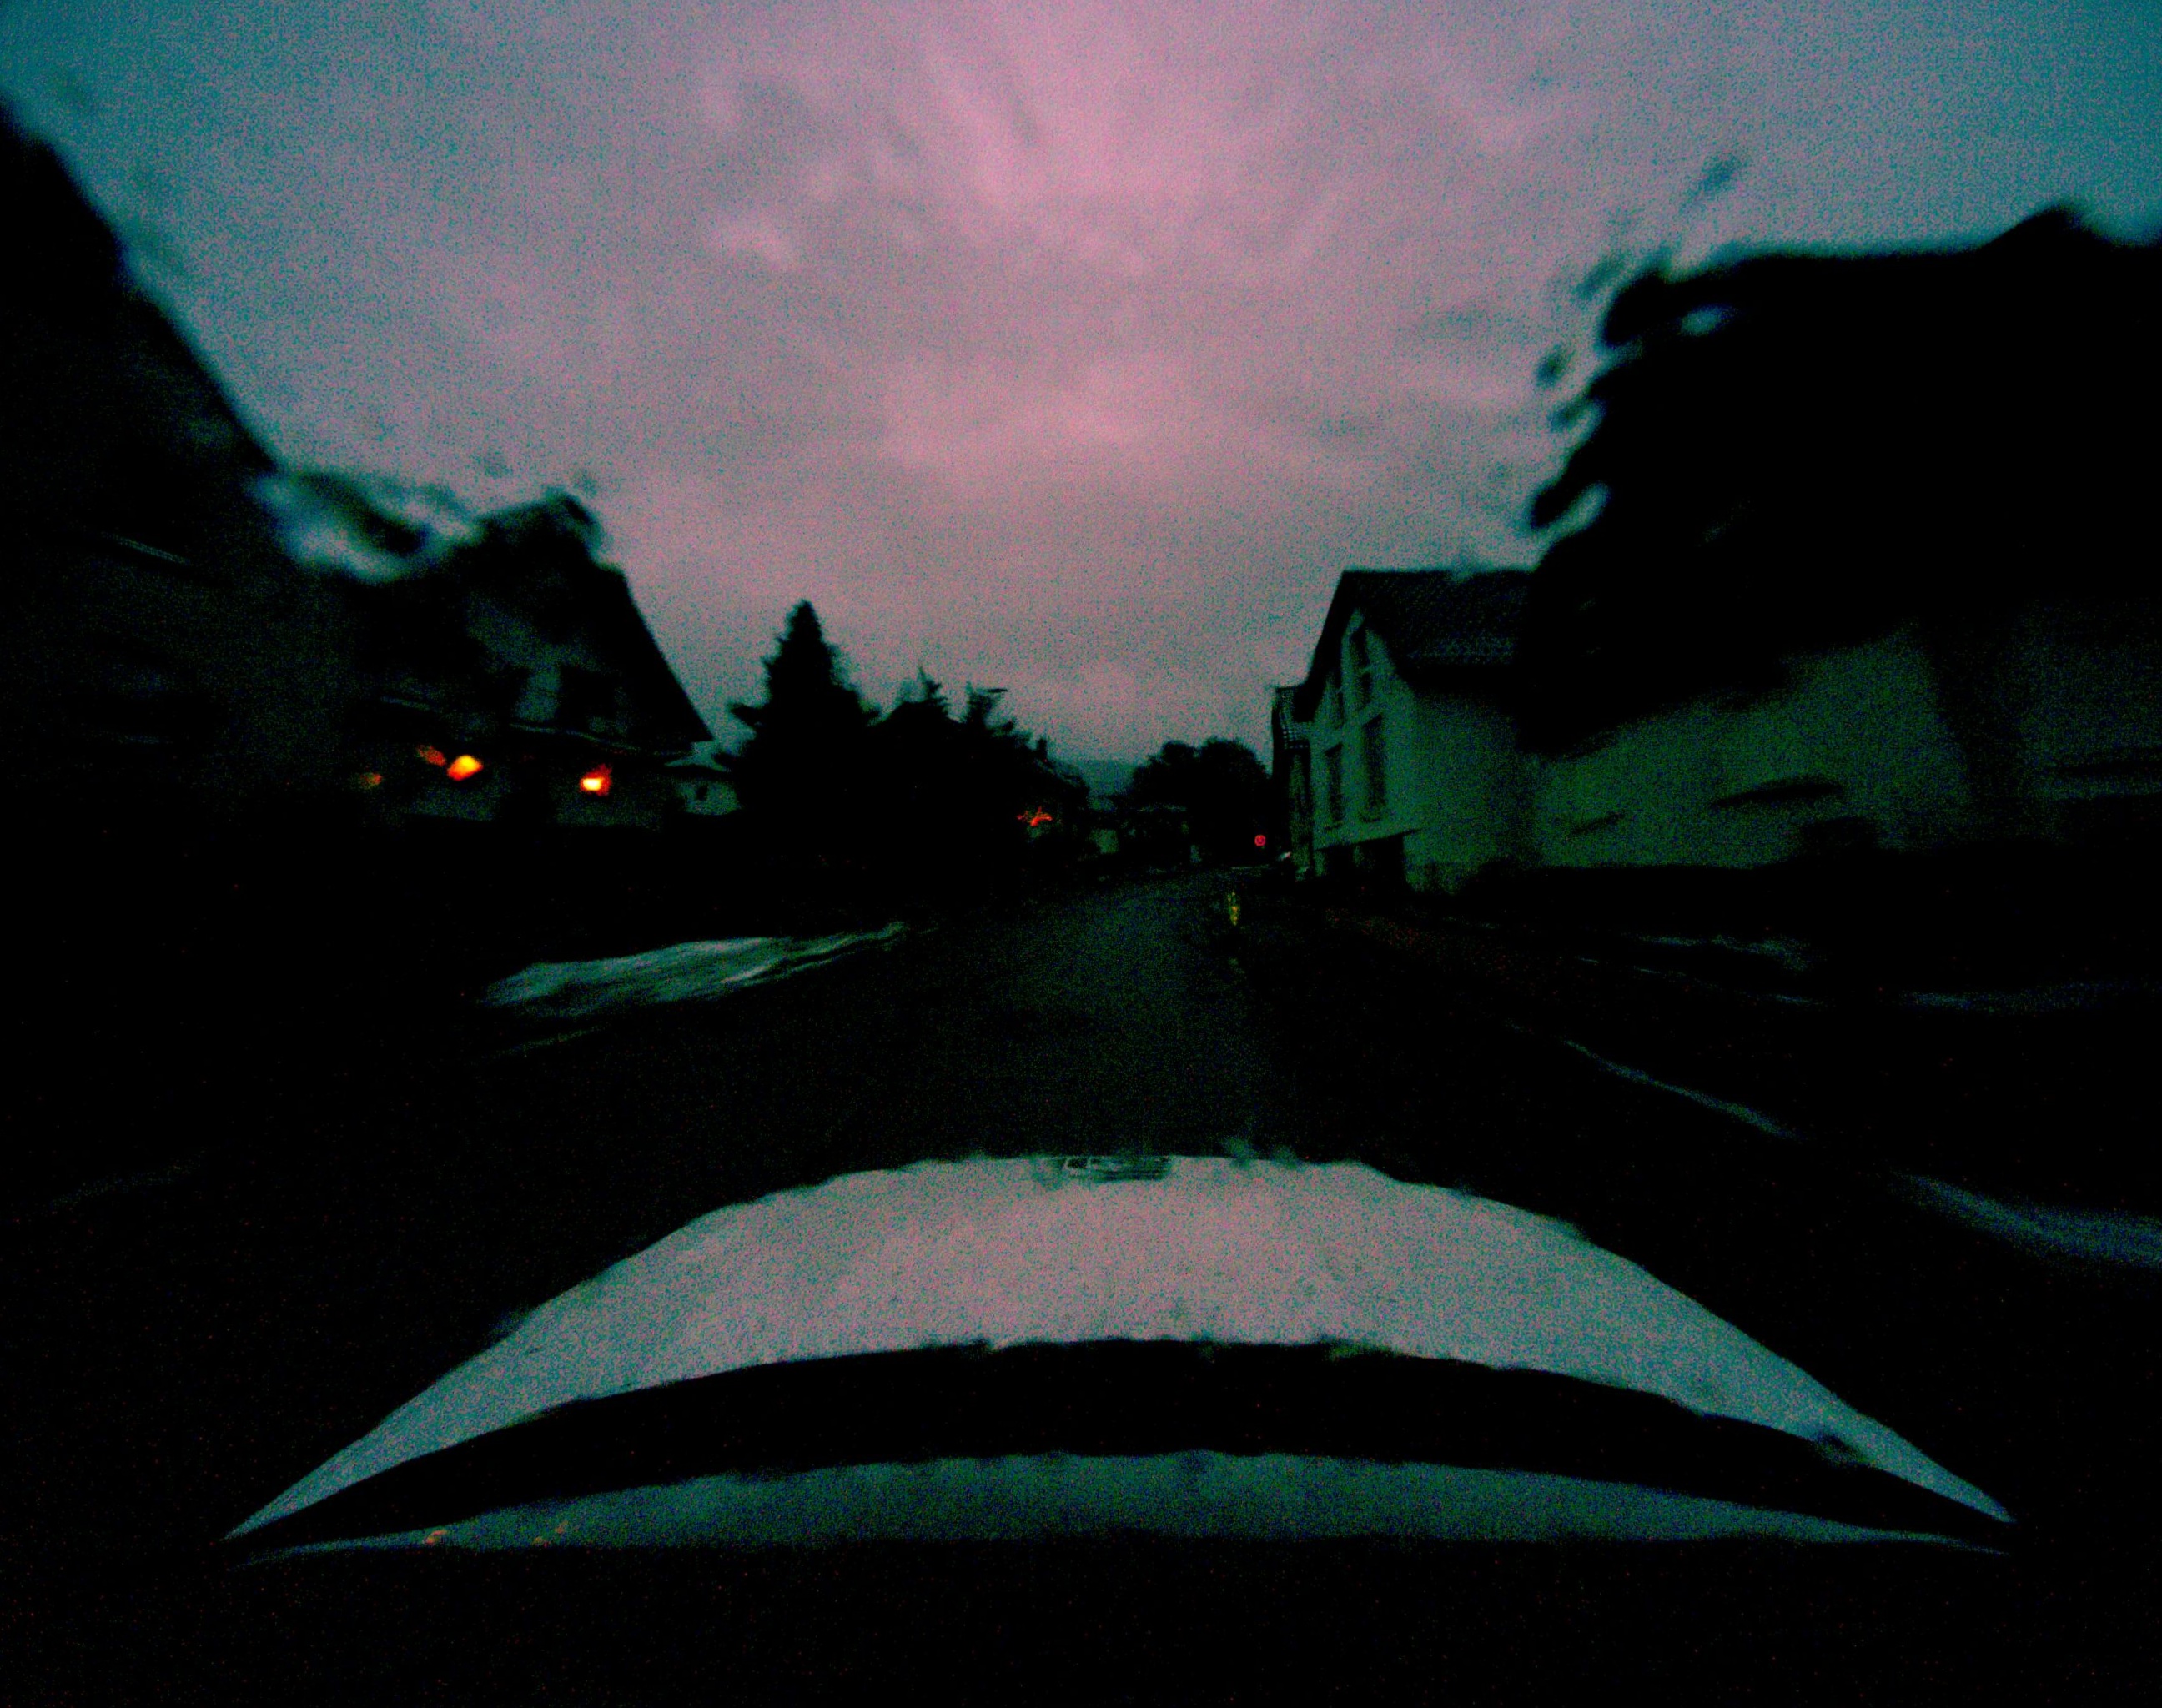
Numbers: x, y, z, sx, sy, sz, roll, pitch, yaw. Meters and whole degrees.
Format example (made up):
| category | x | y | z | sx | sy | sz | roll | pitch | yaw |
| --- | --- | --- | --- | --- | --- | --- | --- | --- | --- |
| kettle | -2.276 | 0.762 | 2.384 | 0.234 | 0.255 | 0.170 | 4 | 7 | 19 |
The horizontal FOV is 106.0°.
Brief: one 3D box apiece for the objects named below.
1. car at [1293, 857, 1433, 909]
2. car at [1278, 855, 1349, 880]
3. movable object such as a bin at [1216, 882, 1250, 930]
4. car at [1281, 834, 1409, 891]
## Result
| category | x | y | z | sx | sy | sz | roll | pitch | yaw |
| --- | --- | --- | --- | --- | --- | --- | --- | --- | --- |
| car | 9.214 | 0.940 | 26.822 | 3.972 | 1.457 | 1.691 | -3 | -1 | 2 |
| car | 15.584 | 0.902 | 54.661 | 4.470 | 1.443 | 2.009 | -3 | -1 | 16 |
| movable object such as a bin | 3.217 | 1.095 | 17.238 | 0.611 | 0.946 | 0.596 | -5 | -2 | 7 |
| car | 10.020 | 0.334 | 31.156 | 4.257 | 1.456 | 1.783 | -9 | -2 | 7 |
